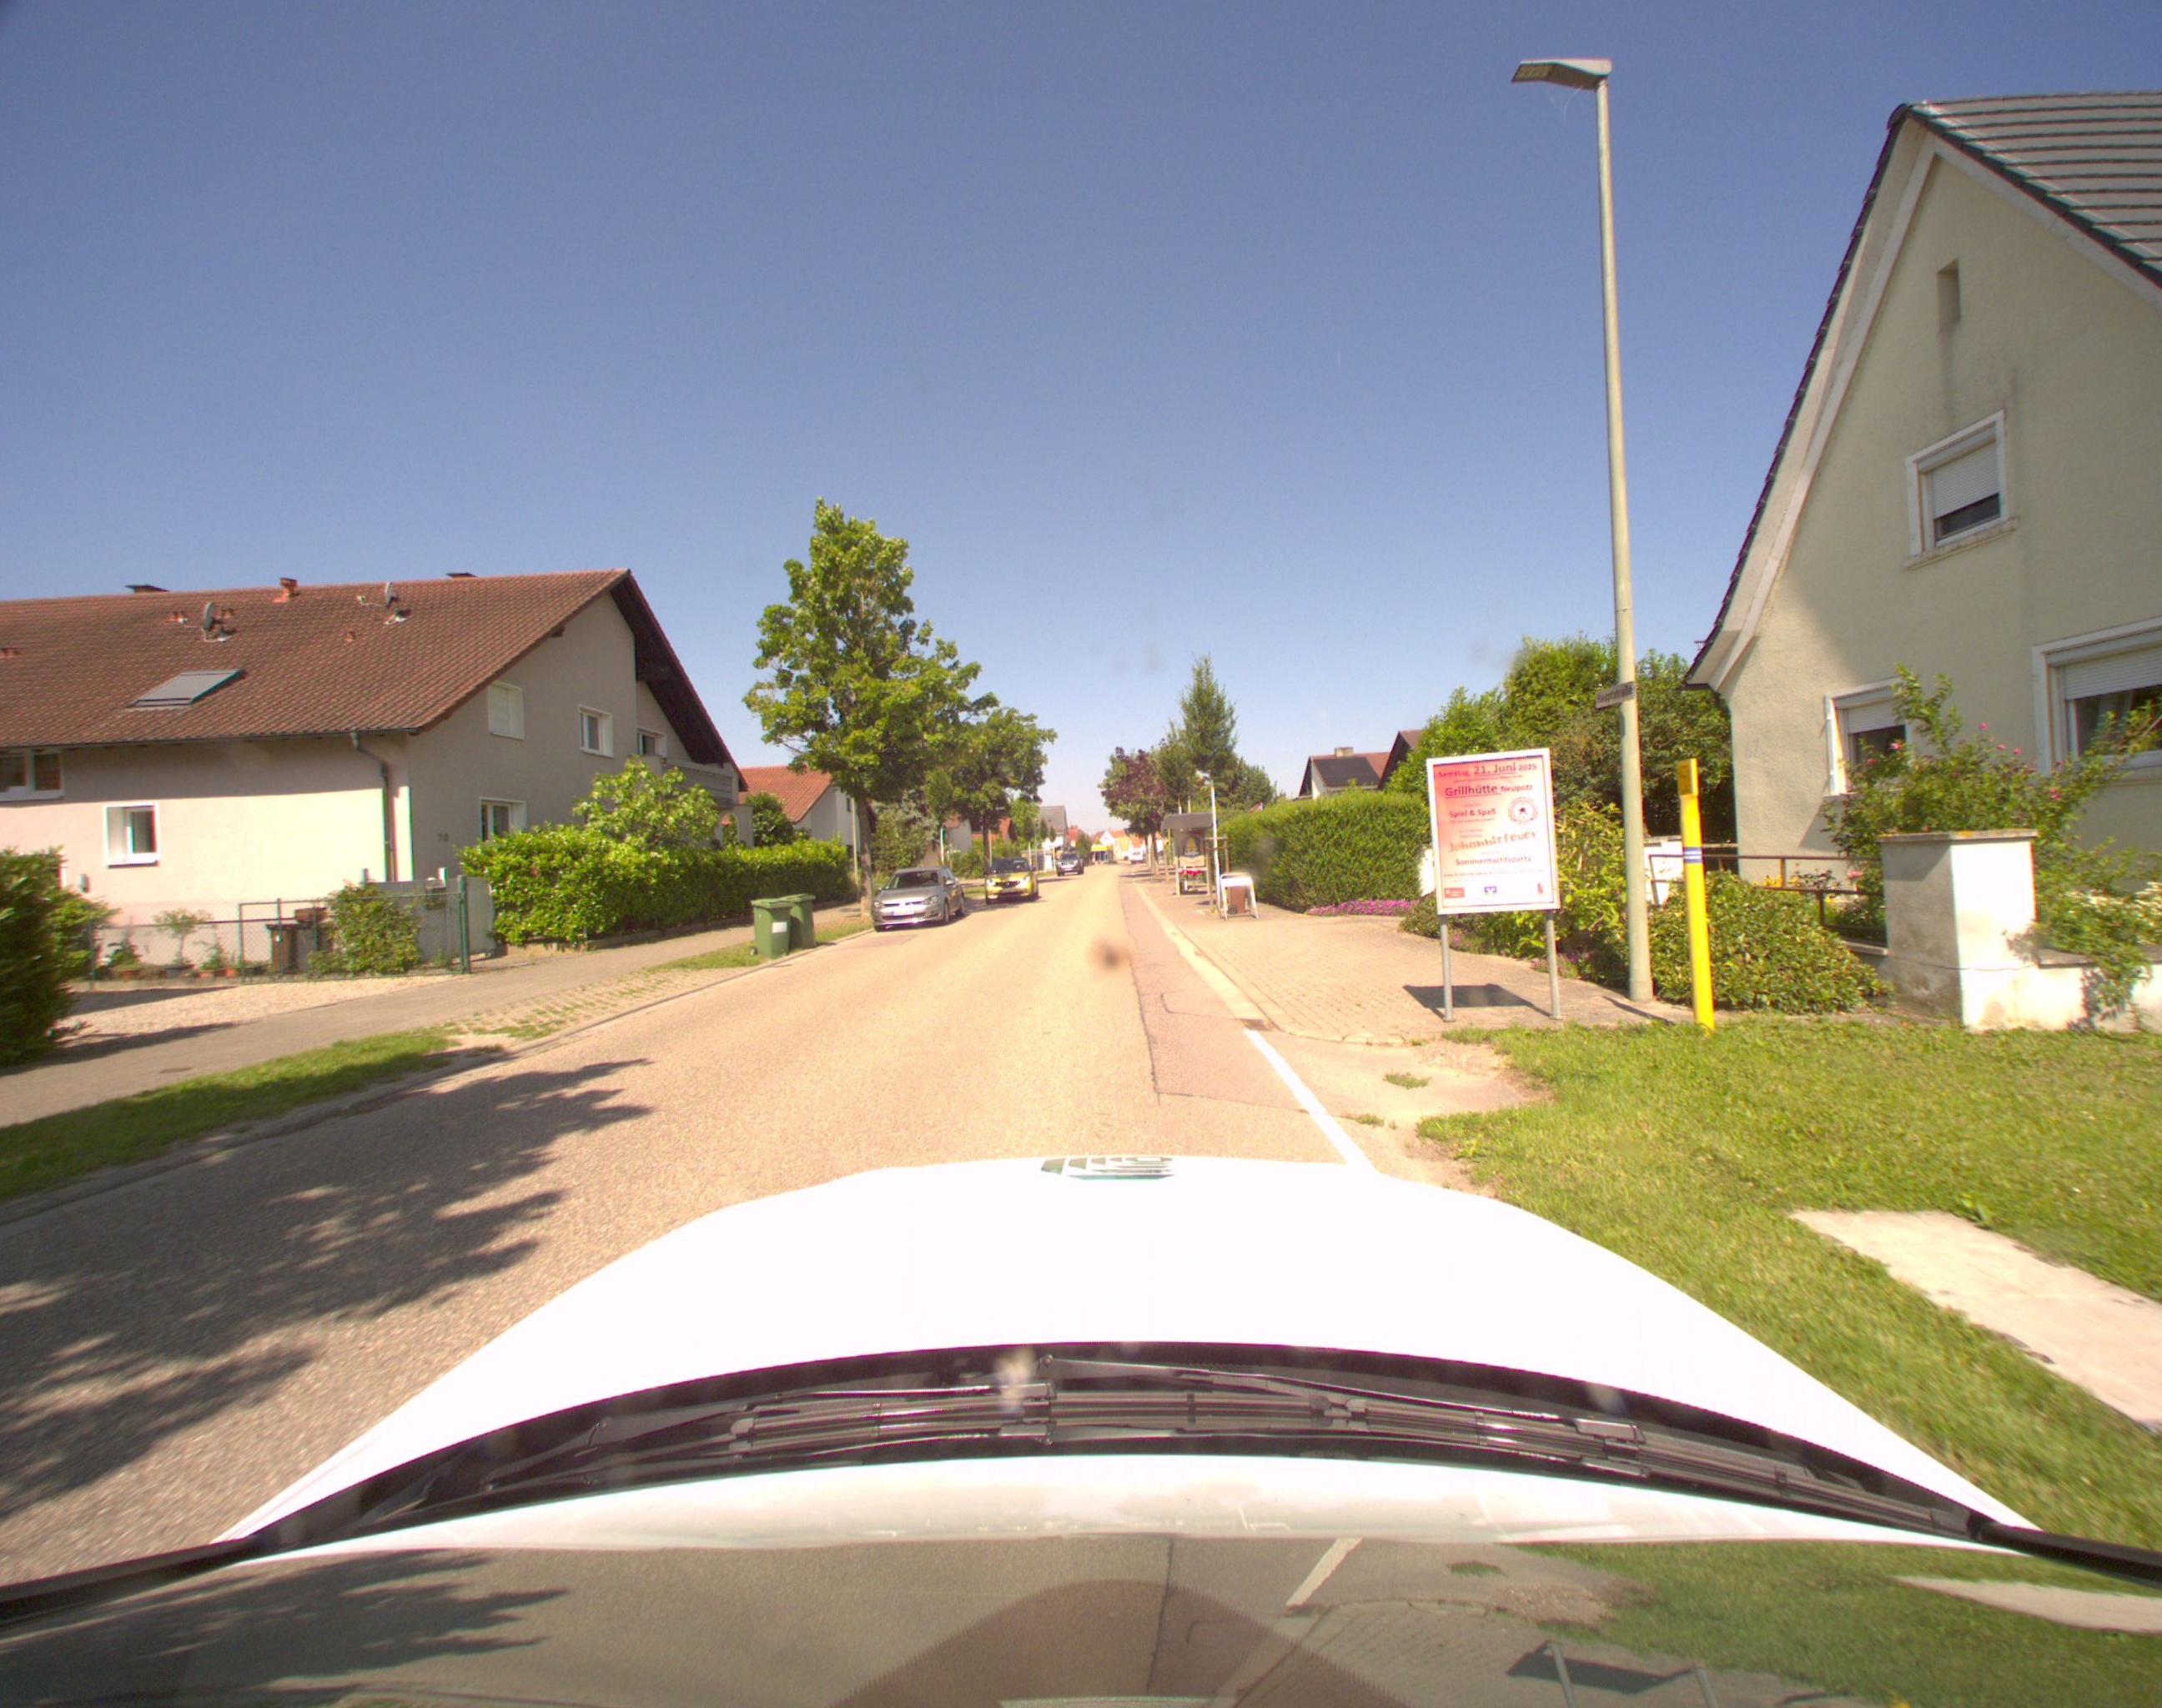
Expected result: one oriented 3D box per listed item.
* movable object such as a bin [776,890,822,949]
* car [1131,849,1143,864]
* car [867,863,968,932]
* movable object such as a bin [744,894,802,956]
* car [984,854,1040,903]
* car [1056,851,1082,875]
[{"bbox_3d":[-5.520,1.280,15.965,0.570,1.079,0.601,-3,-1,14],"label":"movable object such as a bin"},{"bbox_3d":[9.175,0.383,132.851,1.729,2.432,4.381,-3,0,6],"label":"car"},{"bbox_3d":[-4.046,1.013,20.747,1.642,1.423,4.079,-5,0,0],"label":"car"},{"bbox_3d":[-5.752,1.314,15.221,0.706,1.079,0.643,-3,-1,27],"label":"movable object such as a bin"},{"bbox_3d":[-2.394,0.836,28.939,1.661,1.524,3.440,-4,0,-1],"label":"car"},{"bbox_3d":[-0.907,0.661,63.409,1.830,1.752,3.795,-3,0,0],"label":"car"}]
